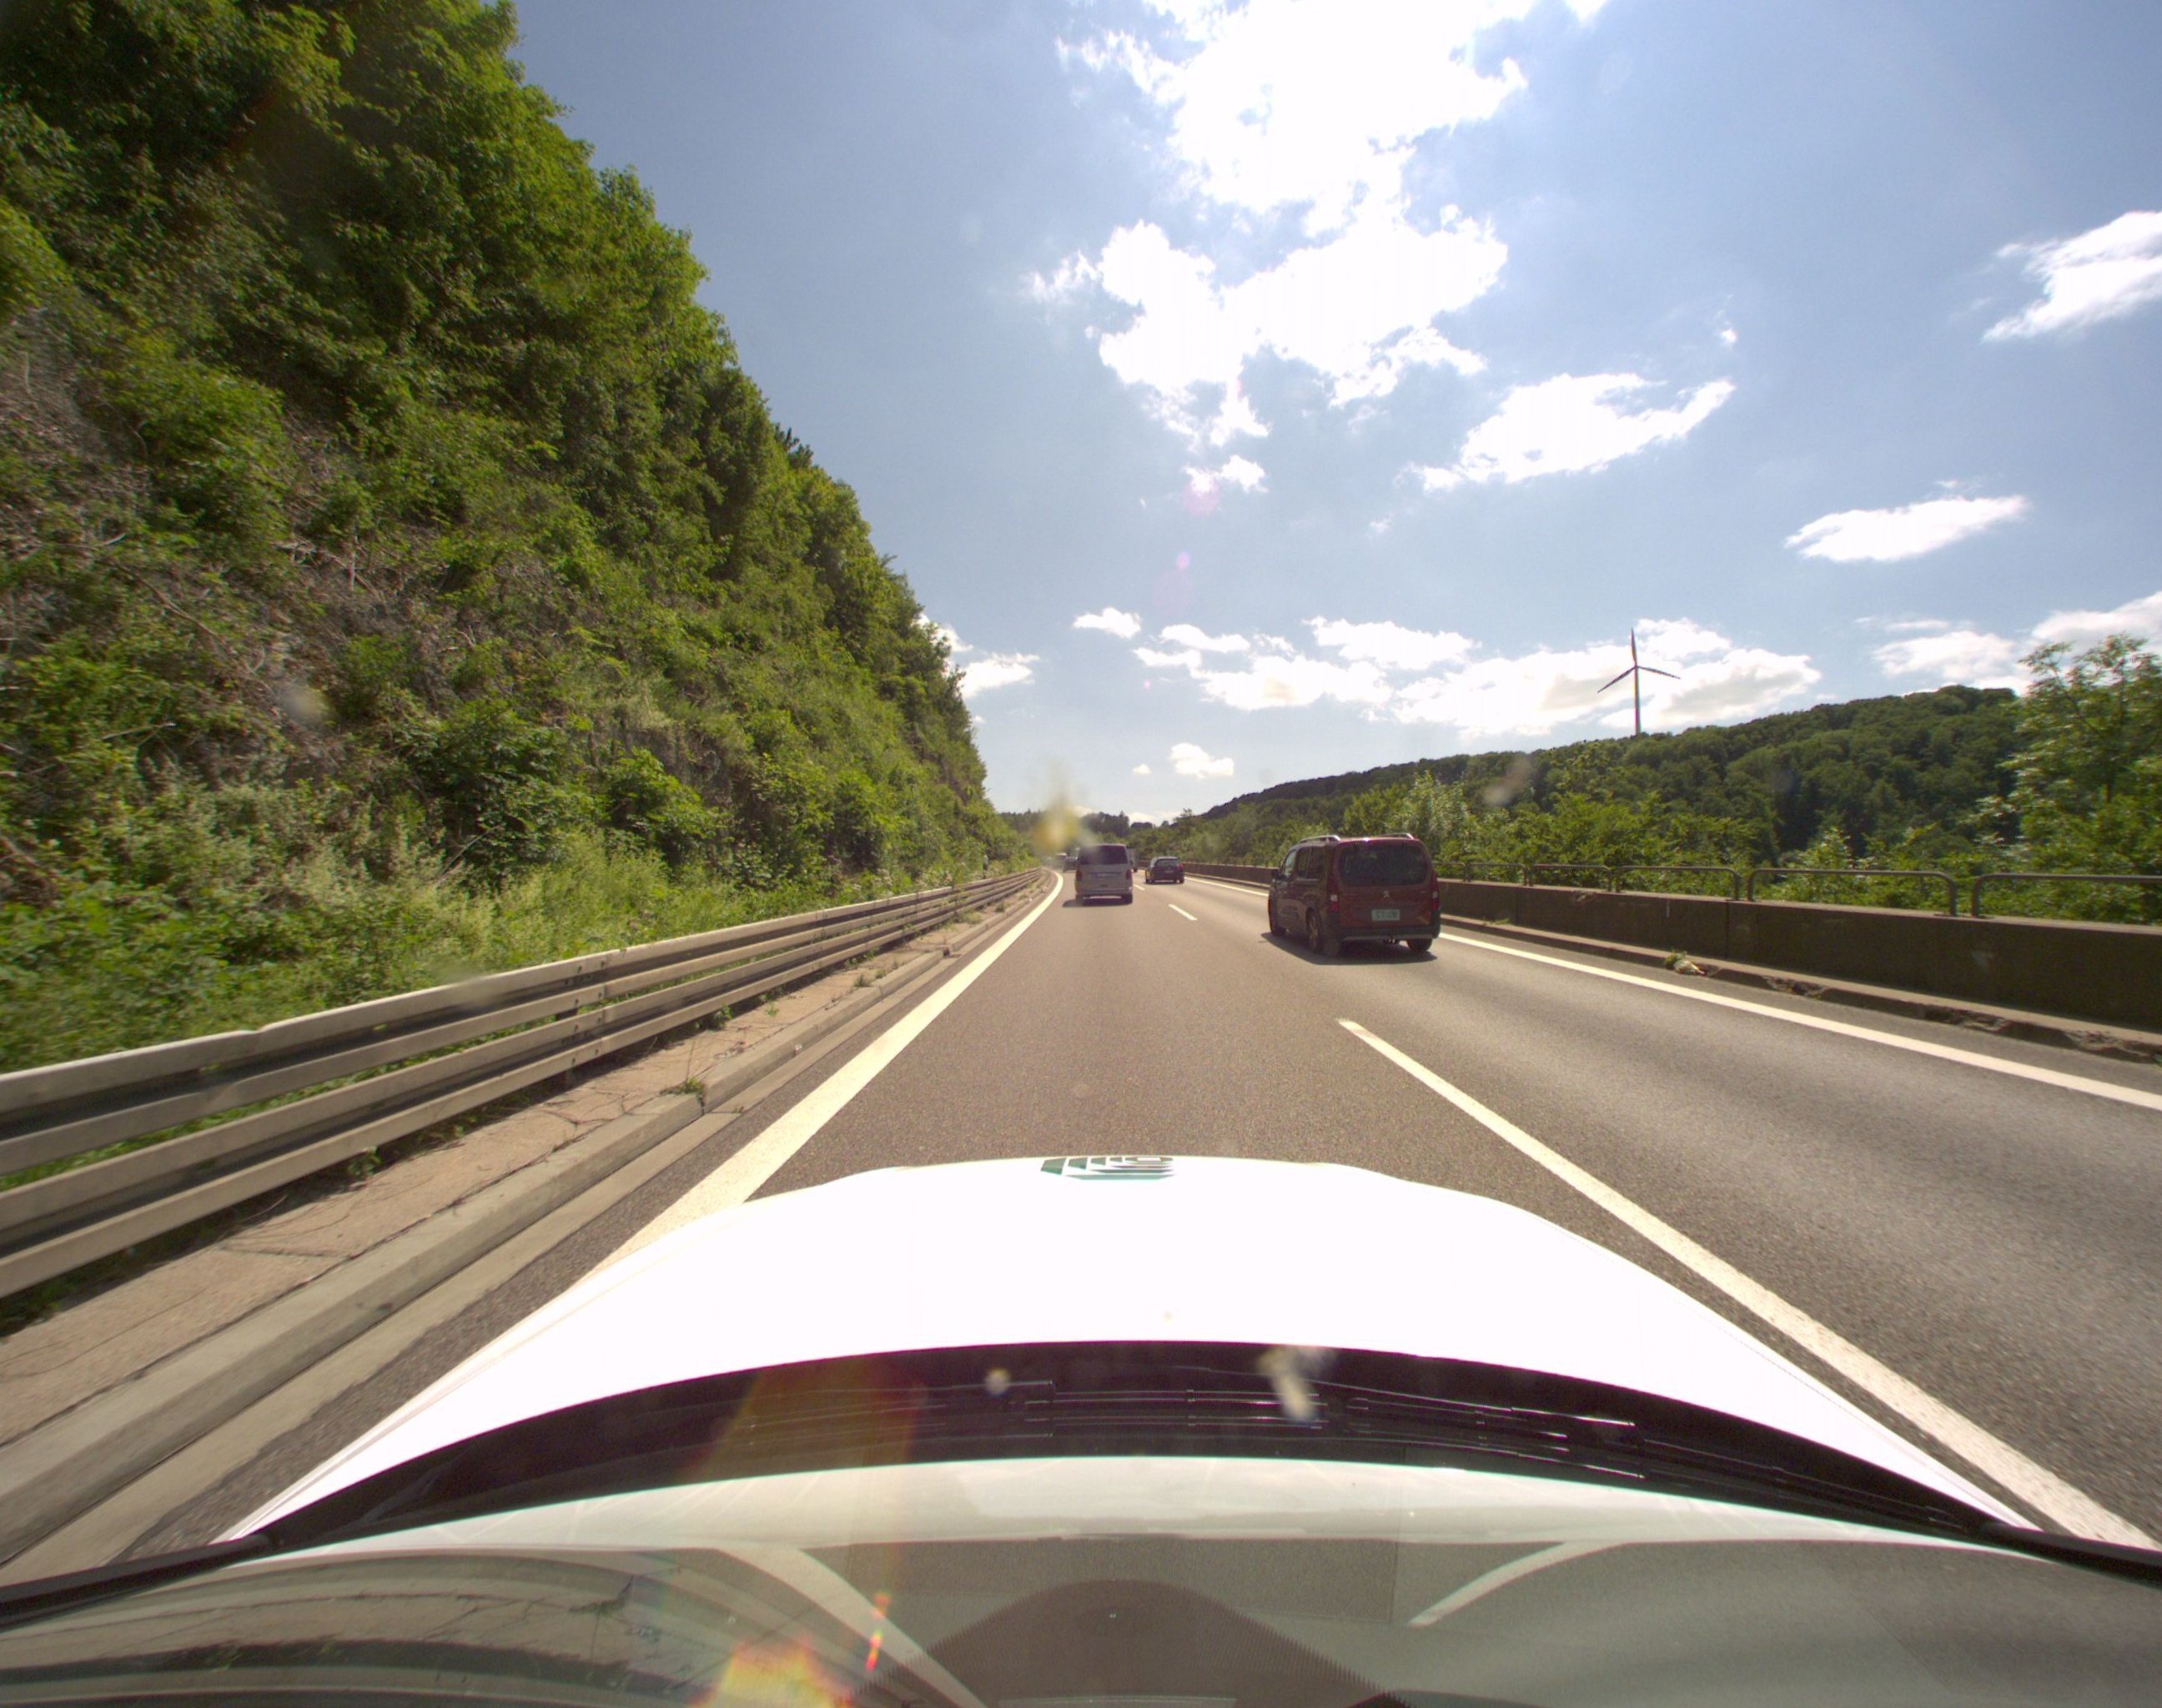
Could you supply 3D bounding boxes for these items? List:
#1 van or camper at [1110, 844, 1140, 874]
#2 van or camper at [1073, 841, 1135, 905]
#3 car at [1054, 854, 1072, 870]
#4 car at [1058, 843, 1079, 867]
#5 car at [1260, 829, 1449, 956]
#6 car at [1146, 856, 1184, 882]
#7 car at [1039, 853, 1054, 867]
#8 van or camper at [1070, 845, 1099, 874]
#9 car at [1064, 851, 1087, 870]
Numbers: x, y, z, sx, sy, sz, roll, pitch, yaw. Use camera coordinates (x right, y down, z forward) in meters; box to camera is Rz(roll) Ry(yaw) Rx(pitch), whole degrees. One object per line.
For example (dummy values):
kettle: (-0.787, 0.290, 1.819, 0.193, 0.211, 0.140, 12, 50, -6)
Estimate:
van or camper: (3.906, 0.434, 73.475, 2.258, 2.551, 4.732, -2, 0, -2)
van or camper: (0.697, 0.607, 27.808, 1.870, 1.949, 4.291, -2, 0, -1)
car: (-2.089, 0.870, 95.577, 1.986, 1.817, 4.001, -1, 0, 1)
car: (-2.808, 0.156, 175.037, 4.034, 4.871, 10.098, -1, 0, -3)
car: (4.453, 0.588, 14.085, 1.826, 1.784, 4.678, -2, -1, 2)
car: (4.558, 0.794, 44.676, 1.762, 1.376, 3.593, 0, 0, 1)
car: (-5.040, 0.842, 118.619, 1.991, 1.915, 3.992, -1, 0, -6)
van or camper: (0.398, 0.794, 113.195, 3.271, 3.789, 8.097, -1, 0, -5)
car: (-0.591, 0.628, 79.437, 1.989, 1.817, 3.995, -1, 0, -4)
